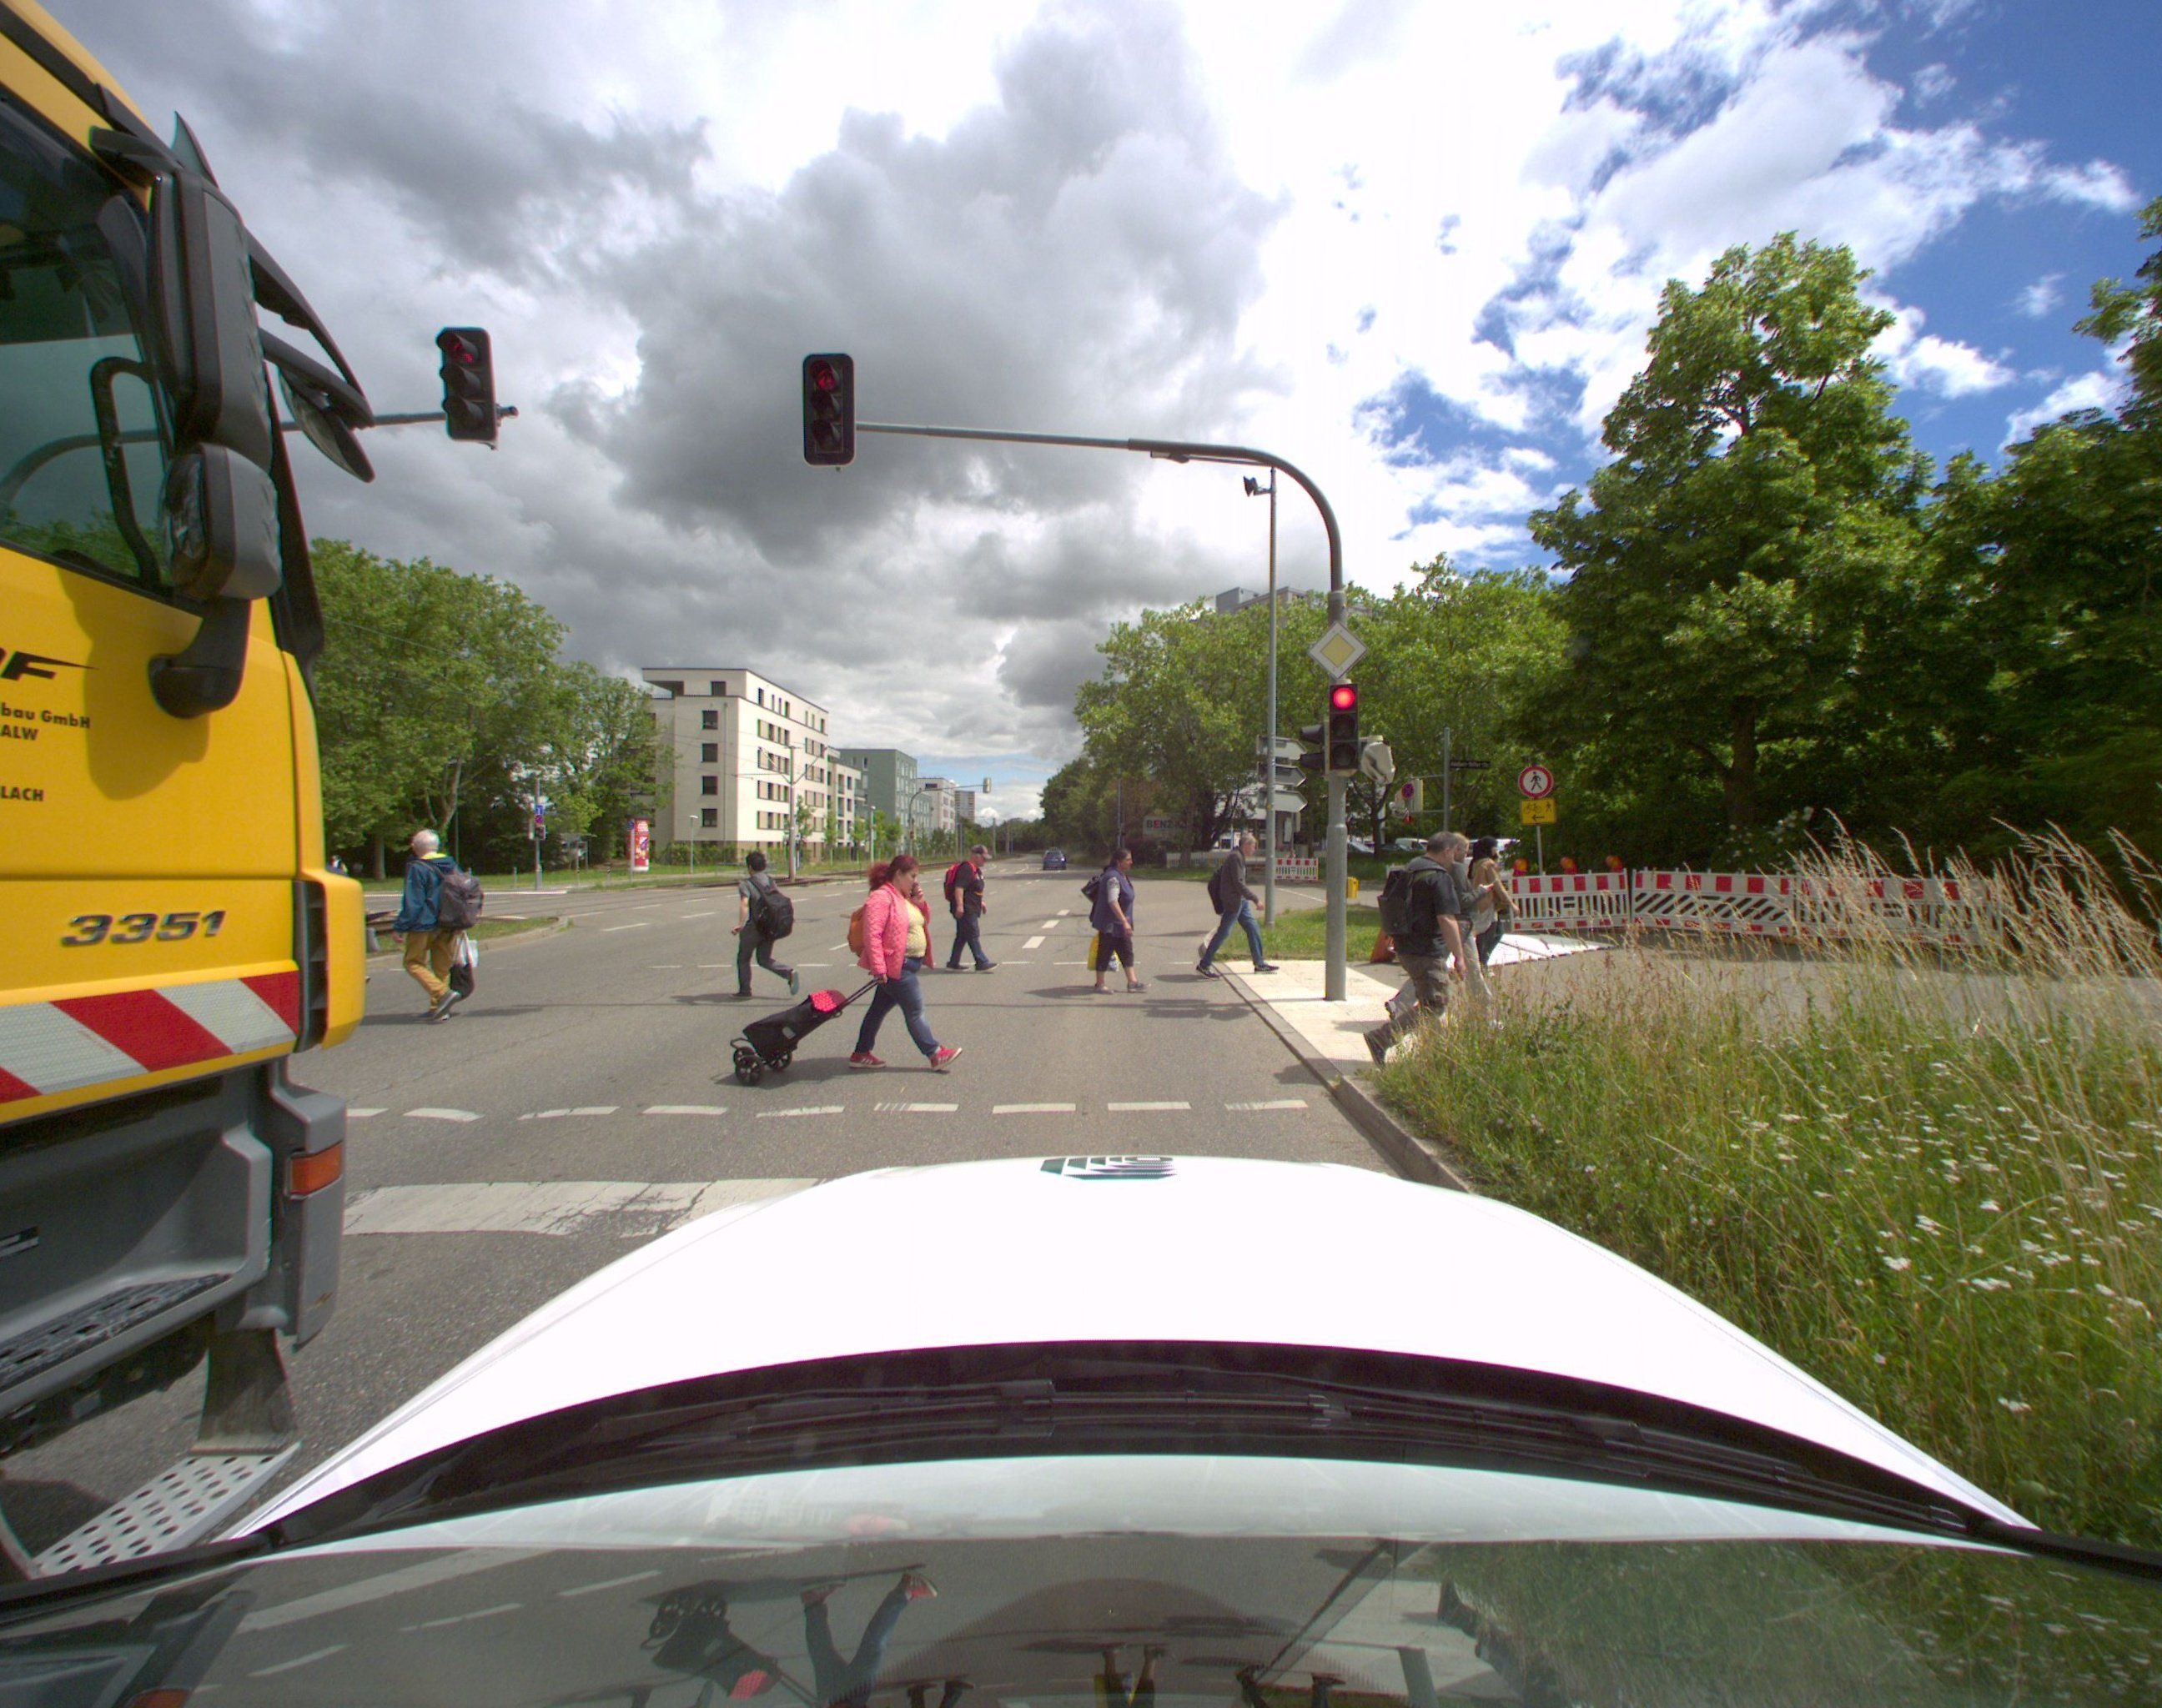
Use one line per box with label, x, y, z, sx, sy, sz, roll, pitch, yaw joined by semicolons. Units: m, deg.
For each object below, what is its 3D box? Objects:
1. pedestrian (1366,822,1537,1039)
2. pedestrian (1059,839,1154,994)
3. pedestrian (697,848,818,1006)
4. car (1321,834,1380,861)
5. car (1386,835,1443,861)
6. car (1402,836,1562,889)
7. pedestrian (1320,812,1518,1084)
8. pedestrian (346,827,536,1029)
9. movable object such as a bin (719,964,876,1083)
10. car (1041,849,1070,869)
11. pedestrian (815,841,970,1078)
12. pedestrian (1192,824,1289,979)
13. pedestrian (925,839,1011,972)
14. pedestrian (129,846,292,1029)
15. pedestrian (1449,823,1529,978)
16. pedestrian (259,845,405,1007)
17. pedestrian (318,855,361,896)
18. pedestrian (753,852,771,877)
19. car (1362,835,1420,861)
pedestrian;2.990;0.581;6.688;1.016;1.648;0.930;-1;0;5
pedestrian;0.302;0.644;8.974;0.907;1.607;0.932;-1;0;10
pedestrian;-3.351;0.717;8.524;0.944;1.552;0.842;-1;0;-5
car;20.571;-0.484;62.249;2.006;2.013;3.962;-1;0;-29
car;27.317;-0.495;66.864;2.006;2.013;3.962;-1;0;-29
car;14.921;0.301;30.454;5.063;1.874;1.947;-1;0;-2
pedestrian;2.190;0.570;5.404;0.955;1.648;0.881;-1;0;2
pedestrian;-5.964;0.648;7.659;1.005;1.774;0.949;-1;0;2
movable object such as a bin;-1.948;1.157;5.692;0.792;0.662;0.778;-1;0;2
car;-1.954;0.352;61.278;1.978;1.486;4.485;-1;0;-4
pedestrian;-1.295;0.696;5.748;0.877;1.554;0.747;-1;0;2
pedestrian;1.897;0.543;9.834;0.998;1.773;0.930;-1;0;2
pedestrian;-1.399;0.620;10.281;0.889;1.596;0.909;-1;0;3
pedestrian;-8.259;0.750;7.753;0.817;1.640;0.736;0;0;13
pedestrian;4.819;0.519;9.677;0.775;1.743;0.833;0;0;22
pedestrian;-7.981;0.732;8.704;0.862;1.634;0.768;-1;0;13
pedestrian;-31.723;0.902;34.858;0.923;1.676;1.097;-1;0;-11
pedestrian;-19.873;0.644;50.793;0.827;1.516;0.636;-1;0;1
car;24.602;-0.491;64.730;2.006;2.013;3.962;-1;0;-29
